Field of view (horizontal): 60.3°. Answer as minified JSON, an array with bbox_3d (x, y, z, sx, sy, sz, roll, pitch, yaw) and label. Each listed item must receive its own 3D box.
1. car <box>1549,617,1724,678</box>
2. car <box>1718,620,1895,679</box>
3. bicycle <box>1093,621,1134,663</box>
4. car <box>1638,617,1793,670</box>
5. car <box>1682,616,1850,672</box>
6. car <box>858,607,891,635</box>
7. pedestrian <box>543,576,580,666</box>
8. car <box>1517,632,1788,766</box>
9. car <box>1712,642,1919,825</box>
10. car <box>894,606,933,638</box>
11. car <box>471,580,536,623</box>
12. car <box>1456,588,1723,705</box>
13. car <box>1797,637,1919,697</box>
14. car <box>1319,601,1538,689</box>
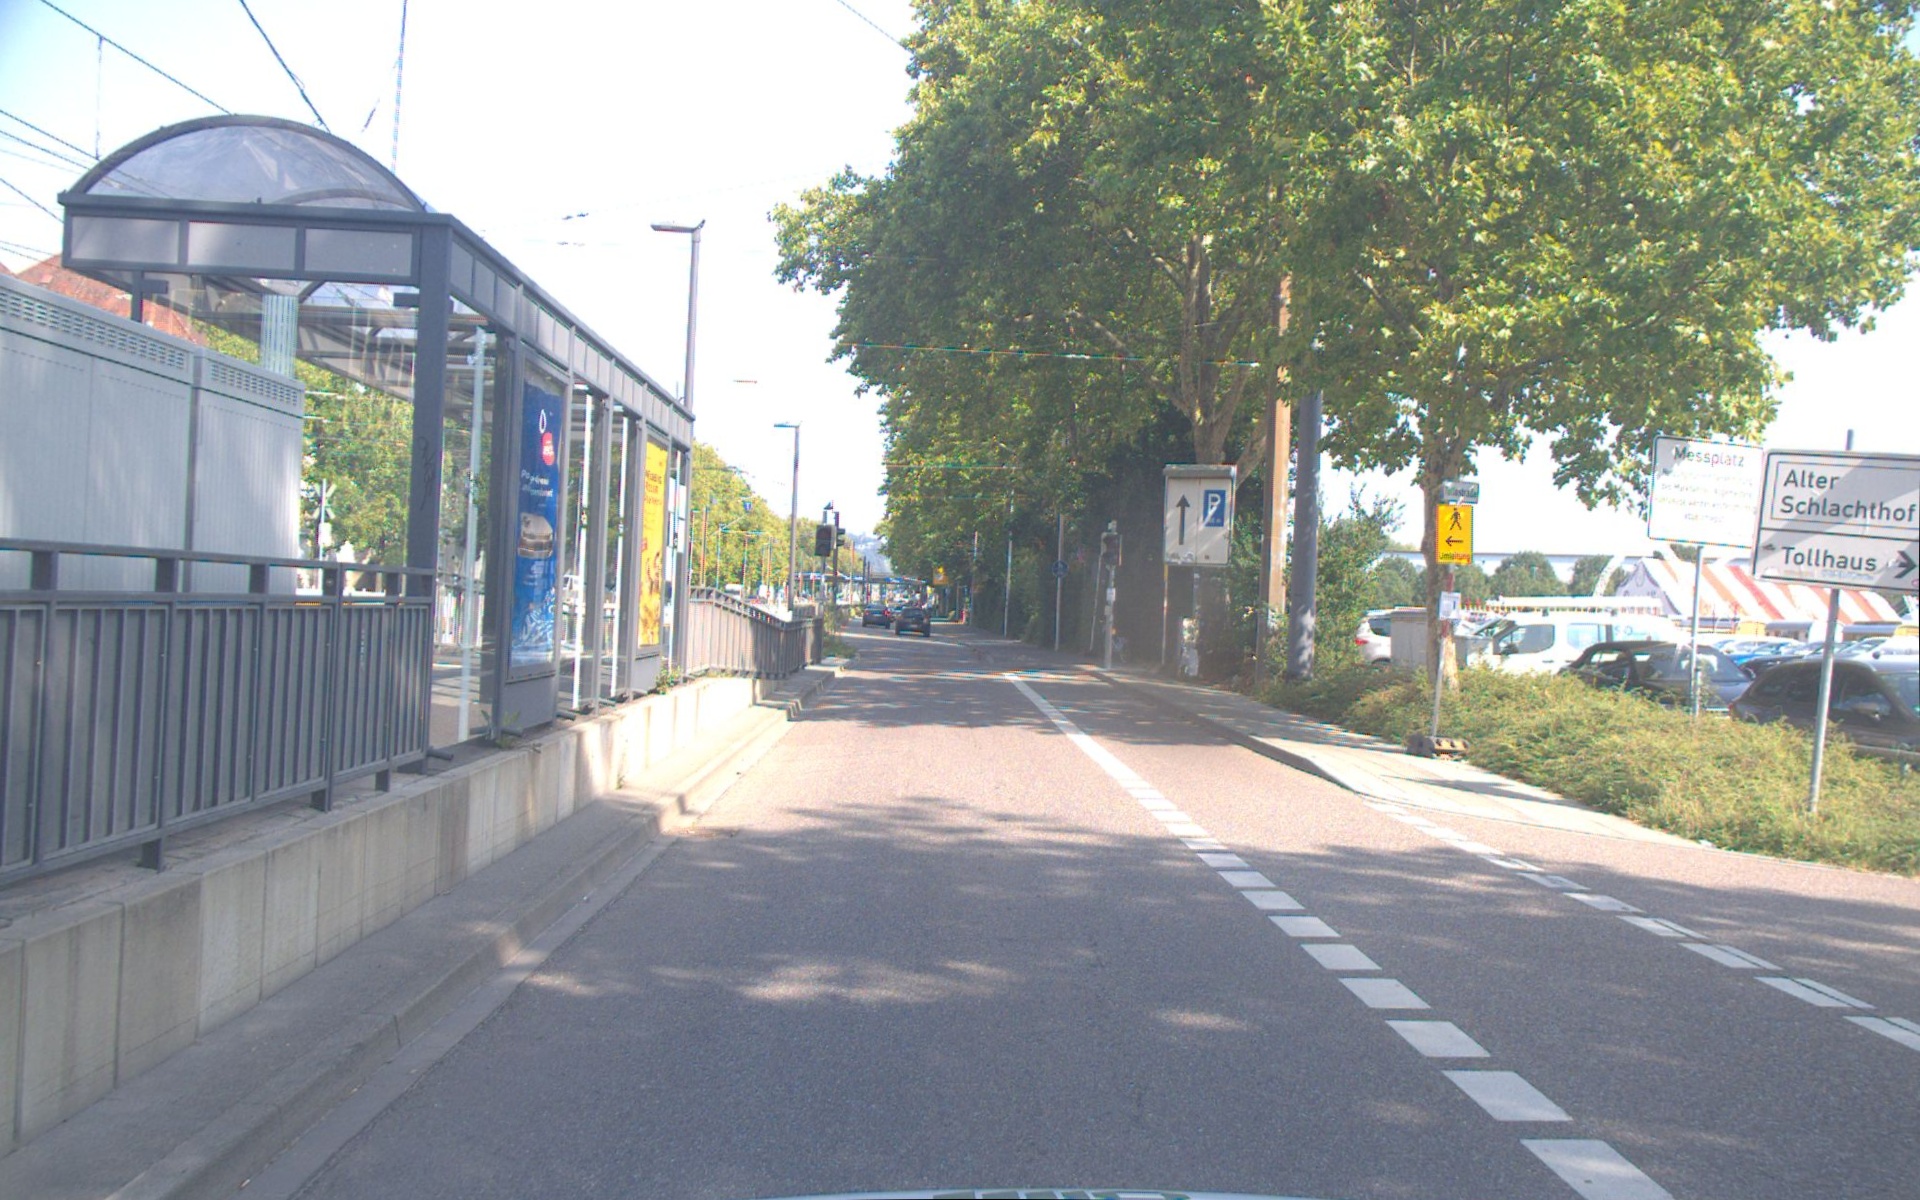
[{"bbox_3d":[19.698,1.371,48.241,4.258,1.489,1.946,3,0,-4],"label":"car"},{"bbox_3d":[25.161,1.451,49.238,4.258,1.489,1.946,3,0,-4],"label":"car"},{"bbox_3d":[4.123,1.104,44.509,0.598,1.039,2.399,3,0,-6],"label":"bicycle"},{"bbox_3d":[25.092,1.428,54.998,4.258,1.489,1.946,3,0,-4],"label":"car"},{"bbox_3d":[25.033,1.356,51.443,4.258,1.489,1.946,3,0,-4],"label":"car"},{"bbox_3d":[-5.237,1.269,100.937,1.934,1.564,3.998,-1,0,-3],"label":"car"},{"bbox_3d":[-8.322,0.446,34.549,0.695,1.853,0.771,1,-2,-12],"label":"pedestrian"},{"bbox_3d":[8.895,1.212,21.646,1.693,1.474,4.115,1,0,-2],"label":"car"},{"bbox_3d":[9.100,1.219,15.737,1.693,1.474,4.549,1,0,-2],"label":"car"},{"bbox_3d":[-2.389,1.113,84.216,1.869,1.564,3.998,1,0,-3],"label":"car"},{"bbox_3d":[-20.598,0.085,74.724,1.954,1.870,3.998,1,-1,-3],"label":"car"},{"bbox_3d":[11.079,0.799,29.313,4.019,1.952,1.848,1,0,1],"label":"car"},{"bbox_3d":[26.199,1.913,46.517,4.301,1.489,1.948,3,0,1],"label":"car"},{"bbox_3d":[9.687,0.909,34.374,3.908,1.614,1.999,3,0,-3],"label":"car"}]
